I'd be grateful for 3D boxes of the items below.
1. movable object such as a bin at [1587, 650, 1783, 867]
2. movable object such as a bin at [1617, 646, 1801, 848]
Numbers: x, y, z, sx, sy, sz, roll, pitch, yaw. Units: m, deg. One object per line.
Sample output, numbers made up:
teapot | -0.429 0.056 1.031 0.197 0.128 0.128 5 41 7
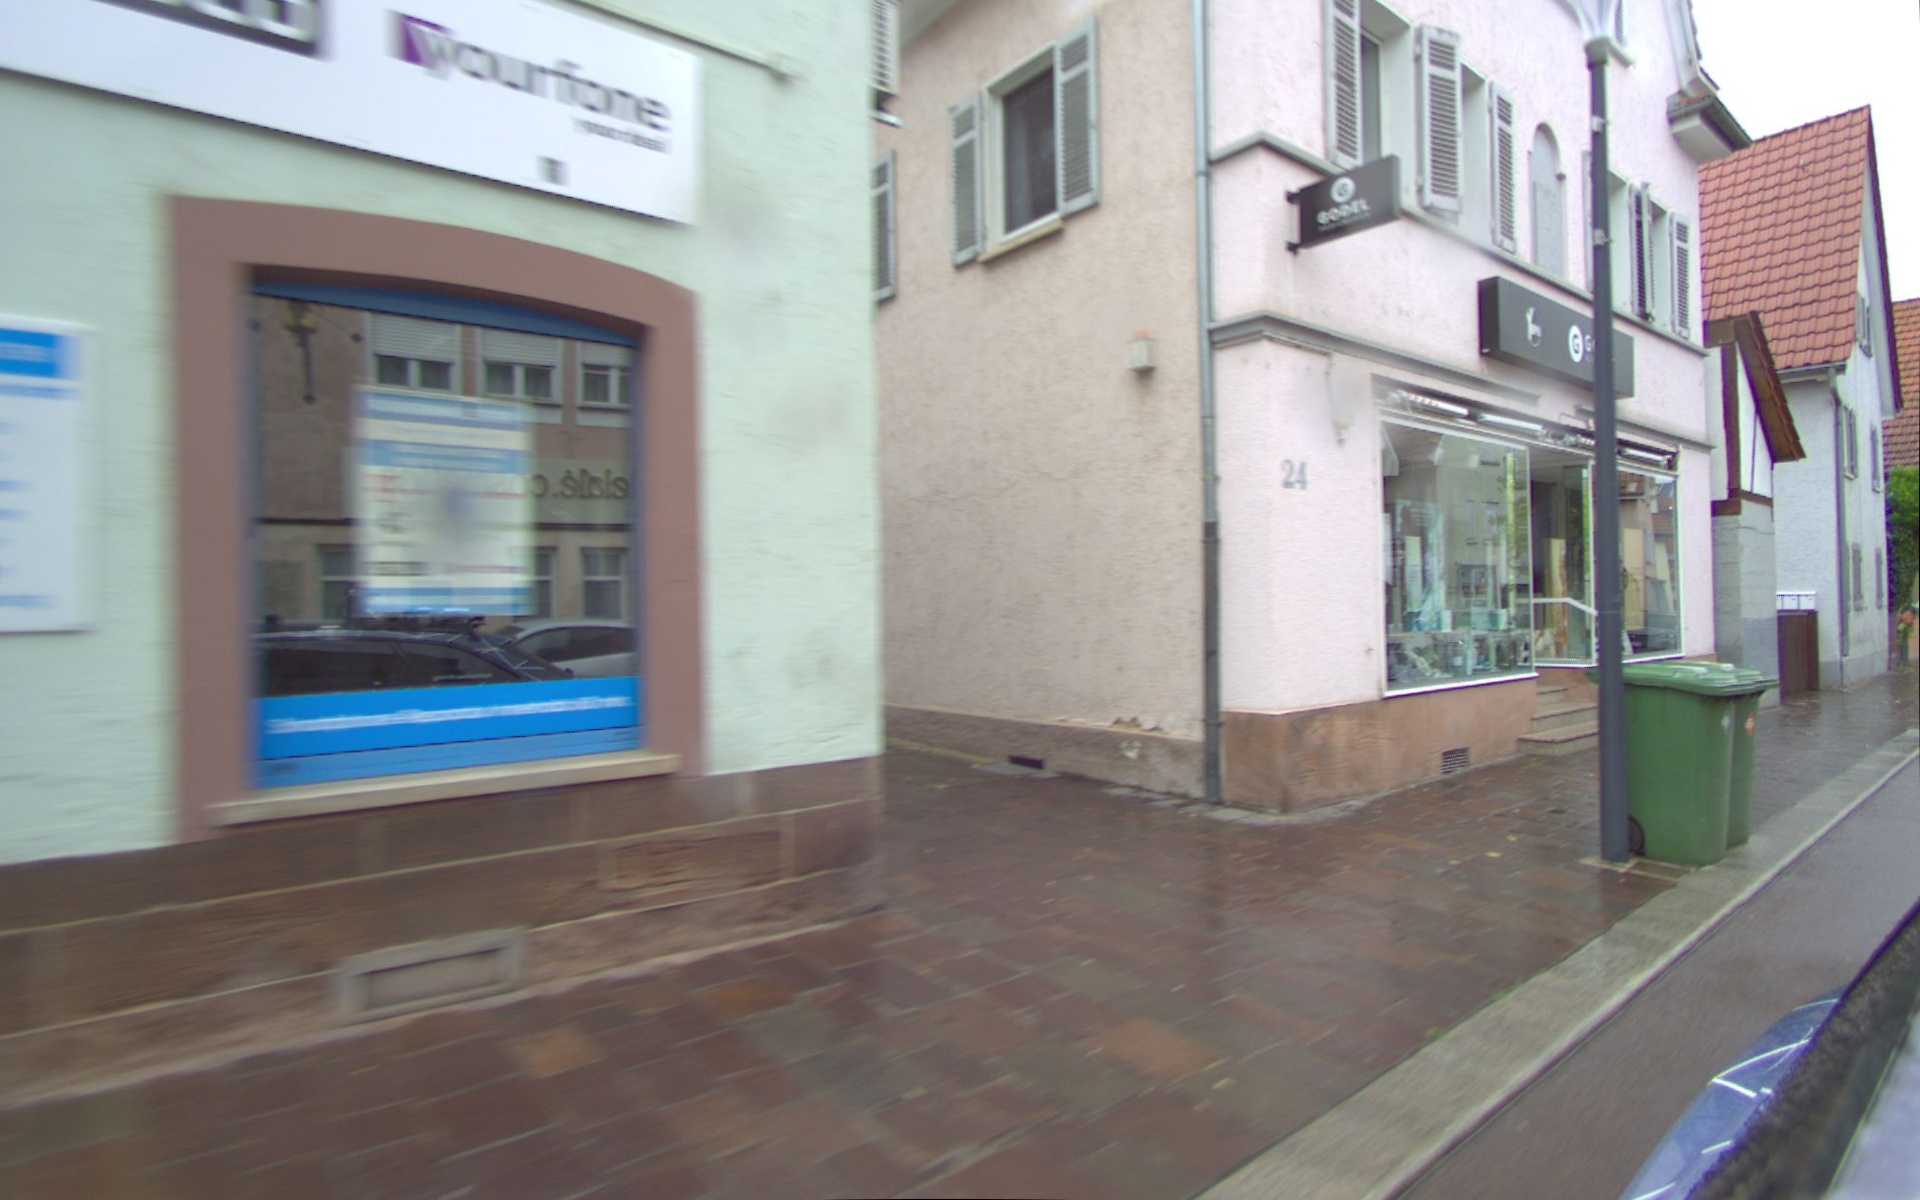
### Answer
movable object such as a bin | 4.152 0.856 5.808 0.573 1.094 0.796 -1 -1 -43
movable object such as a bin | 4.599 0.854 6.227 0.605 1.094 0.793 -1 -1 -43
